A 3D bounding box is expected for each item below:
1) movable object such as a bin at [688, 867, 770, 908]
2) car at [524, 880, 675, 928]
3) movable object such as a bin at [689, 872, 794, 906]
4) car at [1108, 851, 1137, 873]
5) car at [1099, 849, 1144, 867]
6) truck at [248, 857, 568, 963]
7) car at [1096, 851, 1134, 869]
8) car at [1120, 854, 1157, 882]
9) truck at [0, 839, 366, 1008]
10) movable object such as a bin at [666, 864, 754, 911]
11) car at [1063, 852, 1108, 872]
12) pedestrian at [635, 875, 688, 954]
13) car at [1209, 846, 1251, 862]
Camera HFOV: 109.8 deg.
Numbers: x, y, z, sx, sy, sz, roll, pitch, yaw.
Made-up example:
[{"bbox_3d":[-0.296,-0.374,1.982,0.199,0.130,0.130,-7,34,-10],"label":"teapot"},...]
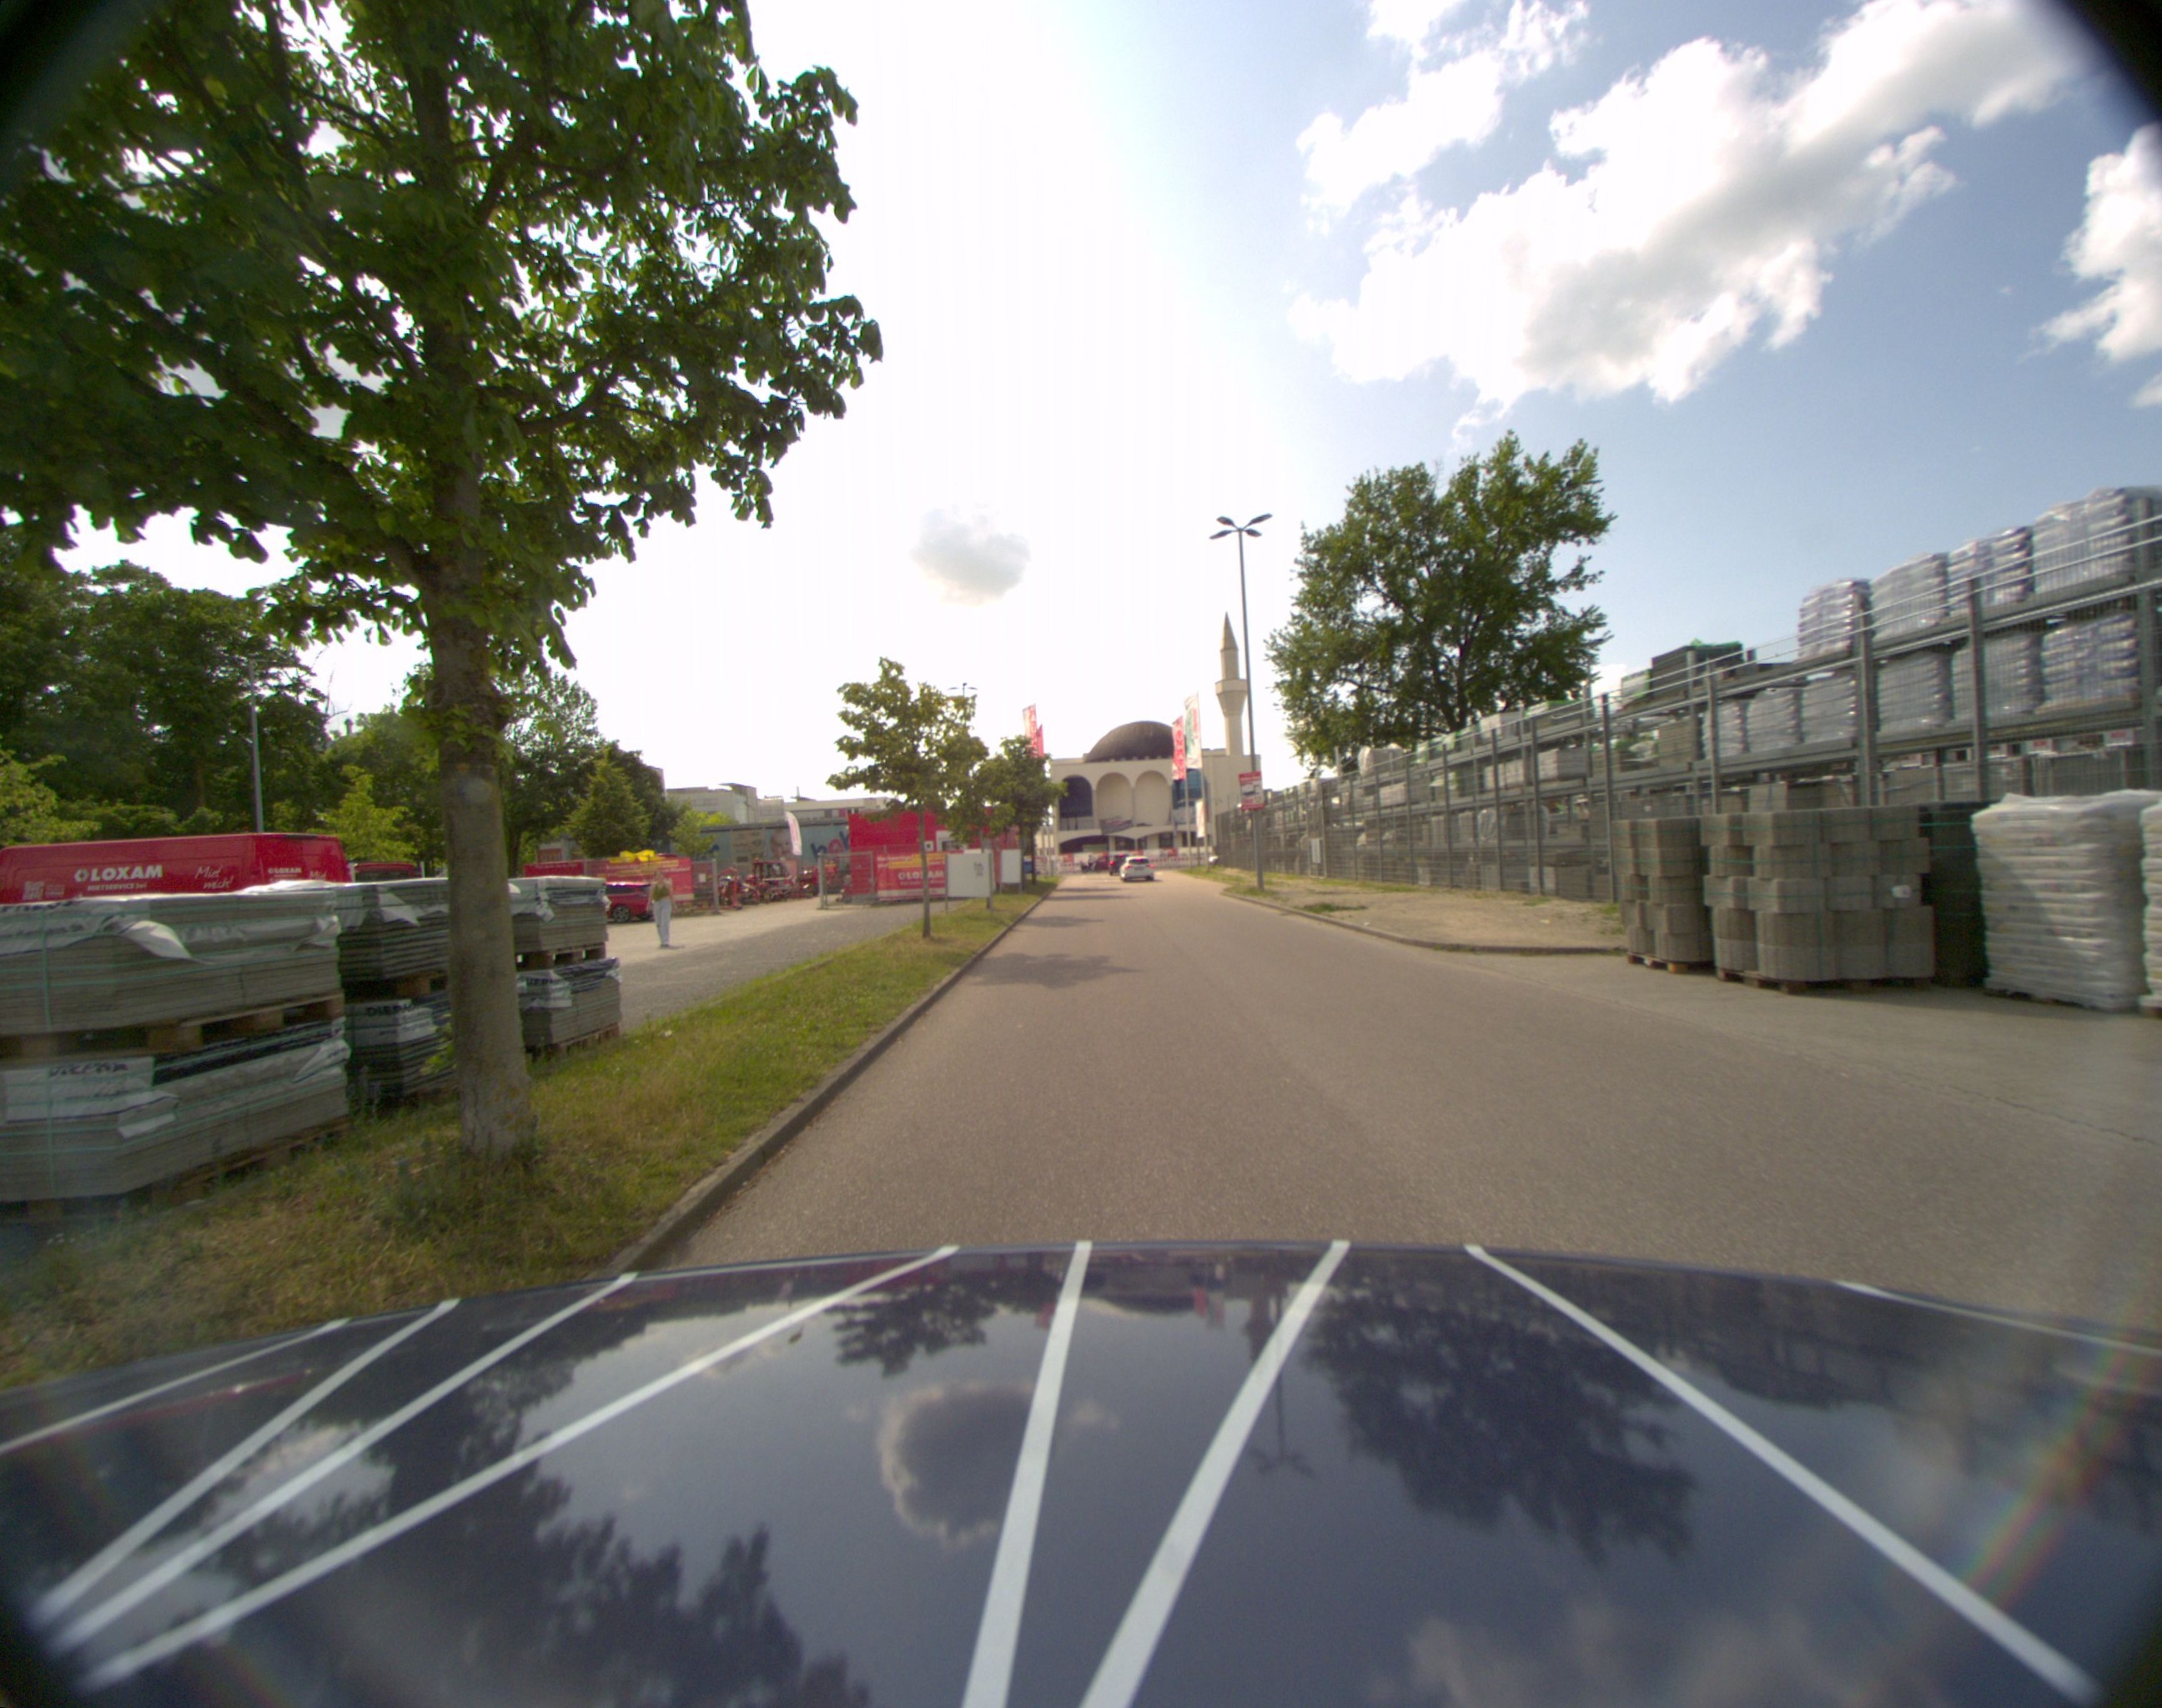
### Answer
[{"bbox_3d":[-15.991,1.502,34.613,3.010,1.660,1.389,-3,0,0],"label":"movable object such as a bin"},{"bbox_3d":[-16.920,1.743,26.858,4.144,1.406,1.617,-2,1,-5],"label":"car"},{"bbox_3d":[-16.432,1.665,37.002,3.583,1.370,3.084,-2,0,4],"label":"movable object such as a bin"},{"bbox_3d":[3.219,0.625,59.611,1.920,1.608,4.373,-2,0,-1],"label":"car"},{"bbox_3d":[3.891,0.377,73.445,4.190,1.500,1.792,-3,0,2],"label":"car"},{"bbox_3d":[-16.629,1.324,19.063,5.860,2.242,2.172,-3,0,-2],"label":"truck"},{"bbox_3d":[3.157,0.557,71.434,3.484,1.491,1.775,-2,4,2],"label":"car"},{"bbox_3d":[3.398,0.796,45.286,1.808,1.456,4.329,-3,0,0],"label":"car"},{"bbox_3d":[-16.110,1.132,13.038,5.442,2.500,2.116,-3,0,-2],"label":"truck"},{"bbox_3d":[-15.878,1.405,32.597,3.010,1.833,1.389,-3,0,0],"label":"movable object such as a bin"},{"bbox_3d":[0.371,0.684,68.721,3.997,1.636,1.906,-2,0,-2],"label":"car"},{"bbox_3d":[-9.468,1.346,17.186,0.600,1.682,0.879,-2,2,2],"label":"pedestrian"},{"bbox_3d":[14.314,0.013,73.006,3.707,1.359,1.651,-2,0,3],"label":"car"}]
